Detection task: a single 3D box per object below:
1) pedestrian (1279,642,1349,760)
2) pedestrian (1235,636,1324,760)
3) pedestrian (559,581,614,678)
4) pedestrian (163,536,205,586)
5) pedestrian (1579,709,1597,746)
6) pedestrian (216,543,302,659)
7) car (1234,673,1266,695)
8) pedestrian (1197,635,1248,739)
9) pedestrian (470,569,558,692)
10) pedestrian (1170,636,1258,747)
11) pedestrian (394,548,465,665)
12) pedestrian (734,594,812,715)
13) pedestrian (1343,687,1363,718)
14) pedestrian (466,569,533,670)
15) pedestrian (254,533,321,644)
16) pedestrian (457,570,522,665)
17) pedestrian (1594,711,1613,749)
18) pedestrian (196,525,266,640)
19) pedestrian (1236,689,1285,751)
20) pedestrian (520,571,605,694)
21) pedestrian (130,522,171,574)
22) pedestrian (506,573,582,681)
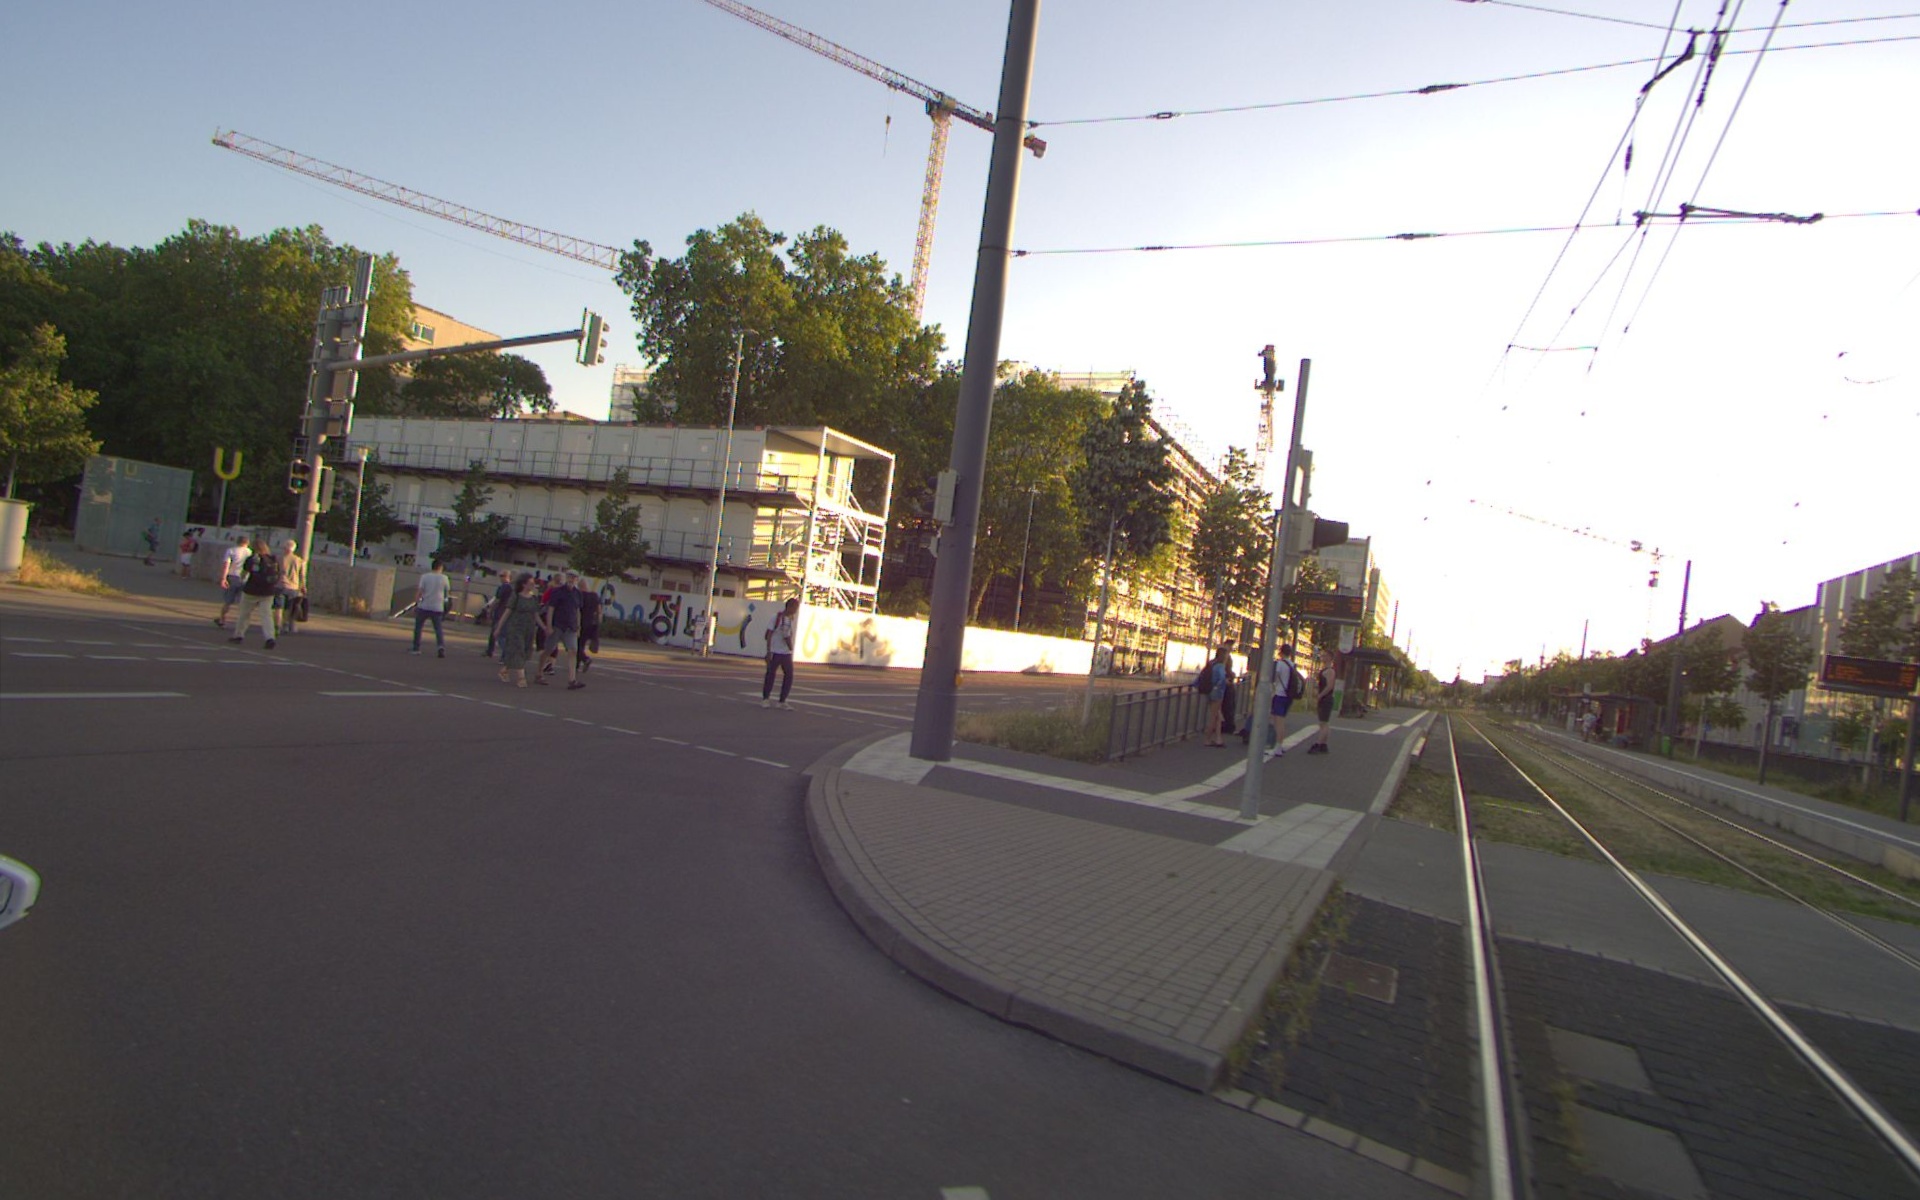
[{"bbox_3d":[6.002,1.689,17.104,0.713,1.877,0.893,4,1,-3],"label":"pedestrian"},{"bbox_3d":[5.231,1.576,16.470,0.993,1.877,0.889,5,1,42],"label":"pedestrian"},{"bbox_3d":[-7.027,0.559,18.933,0.567,1.768,0.642,5,1,32],"label":"pedestrian"},{"bbox_3d":[-25.303,-1.263,32.800,0.633,1.508,0.761,8,0,30],"label":"pedestrian"},{"bbox_3d":[33.508,6.814,53.691,0.608,1.877,0.723,5,1,40],"label":"pedestrian"},{"bbox_3d":[-10.766,0.013,15.451,0.856,1.647,0.643,7,-1,32],"label":"pedestrian"},{"bbox_3d":[24.119,7.006,83.669,1.964,1.547,4.001,7,-2,23],"label":"car"},{"bbox_3d":[4.952,1.635,18.958,0.577,1.876,0.603,7,-1,32],"label":"pedestrian"},{"bbox_3d":[-6.572,0.449,14.836,0.856,1.679,0.643,7,-1,32],"label":"pedestrian"},{"bbox_3d":[4.262,1.526,16.929,0.862,1.746,0.999,4,1,-33],"label":"pedestrian"},{"bbox_3d":[-9.571,0.120,18.147,0.750,1.991,0.643,6,-1,32],"label":"pedestrian"},{"bbox_3d":[-3.000,0.878,16.156,0.857,1.834,0.643,5,-2,32],"label":"pedestrian"},{"bbox_3d":[15.907,4.143,40.725,0.642,1.192,0.649,4,1,22],"label":"pedestrian"},{"bbox_3d":[-8.276,0.359,18.084,0.750,1.732,0.643,3,-3,32],"label":"pedestrian"},{"bbox_3d":[-12.499,-0.208,18.692,0.609,1.956,0.643,7,-1,32],"label":"pedestrian"},{"bbox_3d":[-9.200,0.343,19.689,0.749,1.733,0.644,7,-1,27],"label":"pedestrian"},{"bbox_3d":[34.020,6.862,53.176,0.608,1.877,0.723,5,1,40],"label":"pedestrian"},{"bbox_3d":[-13.038,-0.305,17.995,0.609,1.956,0.643,7,-1,32],"label":"pedestrian"},{"bbox_3d":[5.244,2.082,17.554,0.642,0.974,0.650,7,-1,25],"label":"pedestrian"},{"bbox_3d":[-6.096,0.499,15.418,0.856,1.751,0.643,7,-1,32],"label":"pedestrian"},{"bbox_3d":[-30.854,-1.976,38.355,1.030,1.836,0.815,7,-1,36],"label":"pedestrian"},{"bbox_3d":[-7.181,0.474,17.375,0.856,1.733,0.643,7,-1,32],"label":"pedestrian"}]
